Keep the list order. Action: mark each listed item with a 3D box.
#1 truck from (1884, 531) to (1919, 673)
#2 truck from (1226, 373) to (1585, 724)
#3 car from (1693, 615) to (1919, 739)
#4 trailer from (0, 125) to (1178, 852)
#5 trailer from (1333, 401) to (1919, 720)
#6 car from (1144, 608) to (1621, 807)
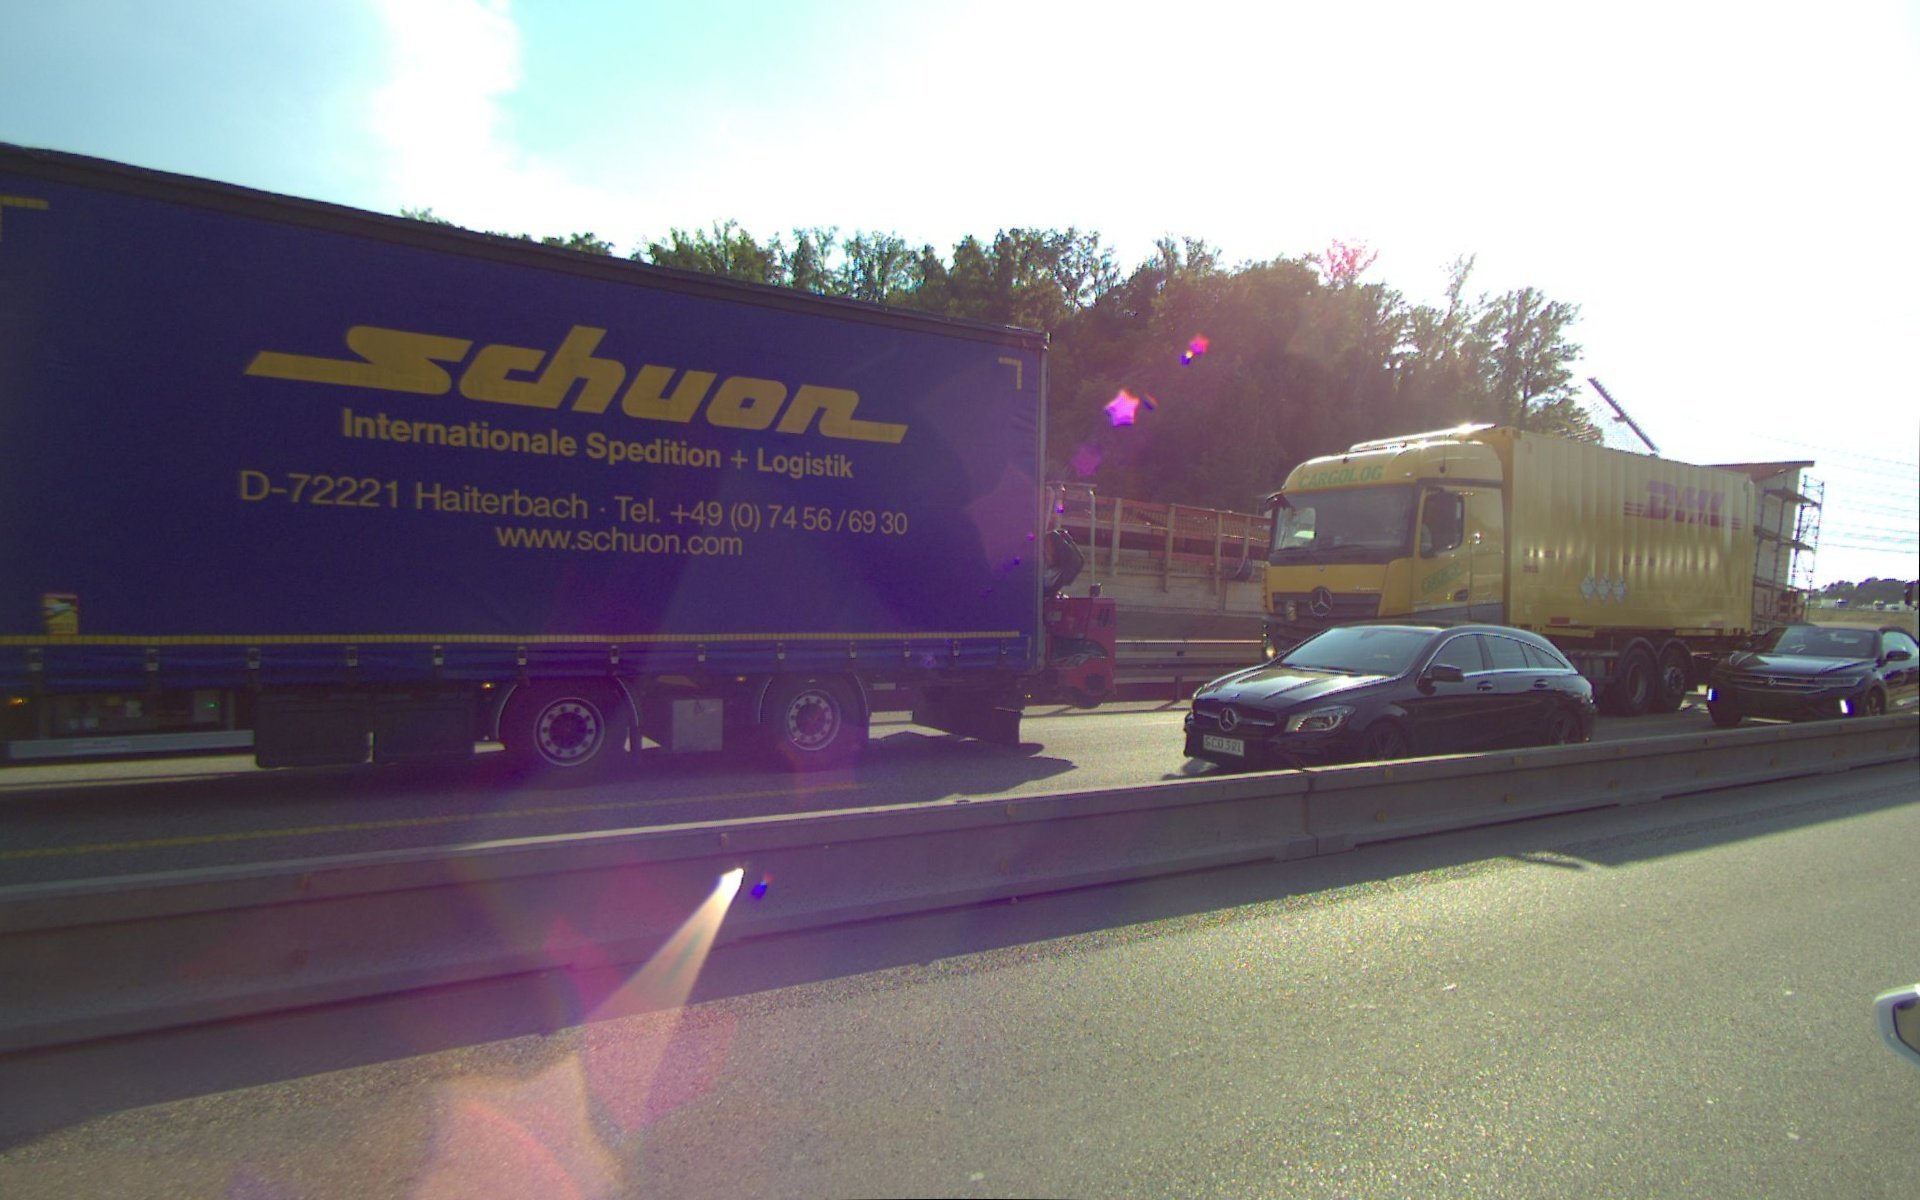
[{"bbox_3d":[33.356,0.287,31.676,13.747,4.023,2.792,2,3,-34],"label":"truck"},{"bbox_3d":[6.419,-0.538,14.451,4.349,4.252,2.679,3,-1,-32],"label":"truck"},{"bbox_3d":[12.502,1.057,14.395,4.242,1.528,1.708,3,-1,-31],"label":"car"},{"bbox_3d":[-5.608,-0.610,7.320,16.557,4.189,2.702,3,-1,-30],"label":"trailer"},{"bbox_3d":[13.302,-0.210,18.697,15.818,4.259,2.687,3,-1,-32],"label":"trailer"},{"bbox_3d":[4.068,0.896,9.433,4.563,1.472,1.788,3,-1,-31],"label":"car"}]
